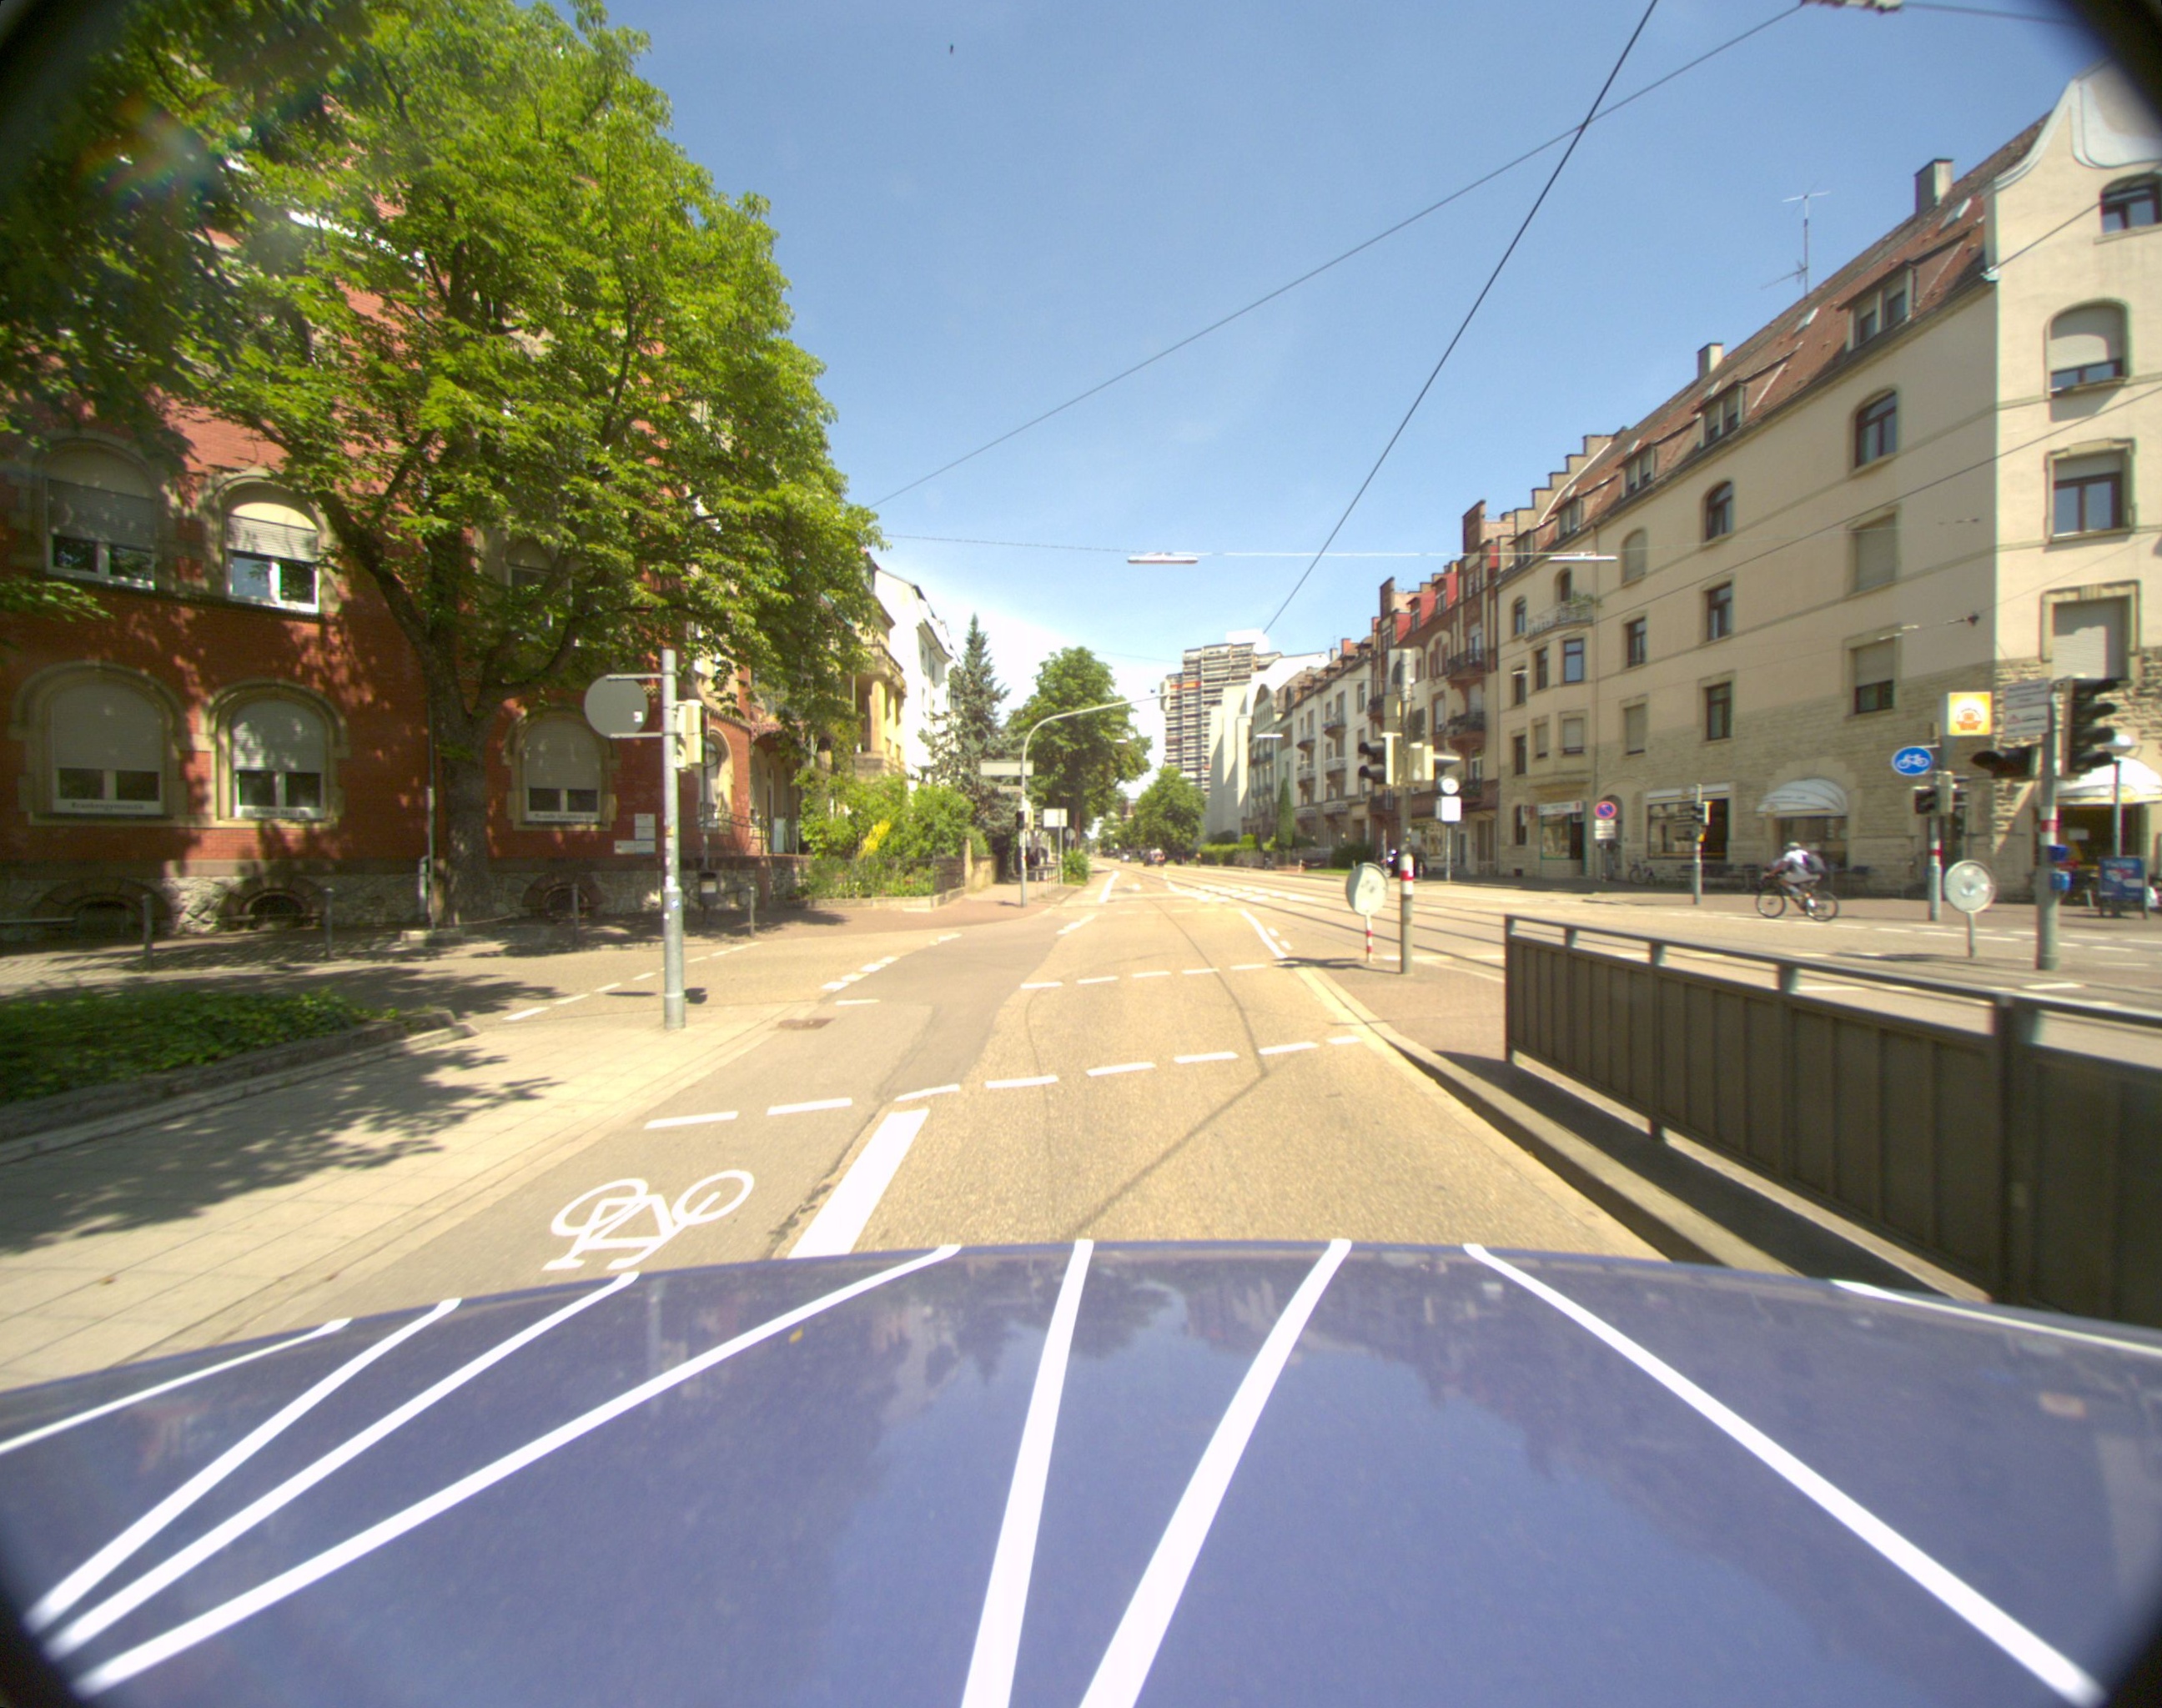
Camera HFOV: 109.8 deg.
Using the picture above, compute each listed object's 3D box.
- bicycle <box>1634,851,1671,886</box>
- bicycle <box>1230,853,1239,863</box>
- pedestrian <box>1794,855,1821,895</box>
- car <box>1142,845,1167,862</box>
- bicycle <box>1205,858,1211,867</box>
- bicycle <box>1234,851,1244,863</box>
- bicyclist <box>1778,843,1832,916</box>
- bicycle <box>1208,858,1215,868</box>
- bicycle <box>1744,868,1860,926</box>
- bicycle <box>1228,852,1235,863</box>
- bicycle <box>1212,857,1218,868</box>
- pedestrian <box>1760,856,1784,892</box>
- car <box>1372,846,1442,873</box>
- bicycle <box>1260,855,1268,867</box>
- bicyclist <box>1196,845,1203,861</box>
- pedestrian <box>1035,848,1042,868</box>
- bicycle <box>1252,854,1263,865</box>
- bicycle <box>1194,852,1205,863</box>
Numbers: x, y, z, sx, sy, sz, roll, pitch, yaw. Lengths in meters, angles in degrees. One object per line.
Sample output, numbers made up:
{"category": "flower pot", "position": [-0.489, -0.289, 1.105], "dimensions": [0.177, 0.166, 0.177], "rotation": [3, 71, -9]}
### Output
{"category": "bicycle", "position": [21.153, 0.529, 28.169], "dimensions": [0.454, 1.218, 2.082], "rotation": [0, 1, 18]}
{"category": "bicycle", "position": [15.199, 0.354, 75.281], "dimensions": [0.400, 0.965, 2.046], "rotation": [-1, 0, -1]}
{"category": "pedestrian", "position": [21.357, 0.614, 22.335], "dimensions": [0.406, 1.142, 0.405], "rotation": [-1, 1, -4]}
{"category": "car", "position": [8.478, -0.068, 87.933], "dimensions": [1.849, 1.926, 4.819], "rotation": [1, 1, -6]}
{"category": "bicycle", "position": [14.901, 0.979, 88.896], "dimensions": [0.340, 1.062, 1.727], "rotation": [-1, 1, -1]}
{"category": "bicycle", "position": [15.227, 0.310, 73.207], "dimensions": [0.493, 1.090, 2.046], "rotation": [-1, 0, -1]}
{"category": "bicyclist", "position": [15.748, 0.543, 16.545], "dimensions": [0.610, 1.565, 0.585], "rotation": [-1, 1, -1]}
{"category": "bicycle", "position": [14.936, 1.002, 86.978], "dimensions": [0.340, 1.062, 1.727], "rotation": [-1, 1, -1]}
{"category": "bicycle", "position": [15.721, 0.903, 16.647], "dimensions": [0.630, 1.150, 1.978], "rotation": [-1, 0, -1]}
{"category": "bicycle", "position": [15.408, 0.328, 77.617], "dimensions": [0.290, 1.040, 1.899], "rotation": [-1, 1, -1]}
{"category": "bicycle", "position": [15.009, 0.977, 85.026], "dimensions": [0.340, 1.157, 1.932], "rotation": [-1, 1, -1]}
{"category": "pedestrian", "position": [21.218, 0.605, 23.333], "dimensions": [0.355, 1.083, 0.405], "rotation": [-1, 1, -4]}
{"category": "car", "position": [18.890, 0.326, 44.095], "dimensions": [3.361, 1.463, 1.530], "rotation": [-1, 0, 3]}
{"category": "bicycle", "position": [15.301, 0.582, 63.505], "dimensions": [0.253, 0.911, 1.614], "rotation": [-1, 0, -1]}
{"category": "bicyclist", "position": [11.979, -0.095, 76.790], "dimensions": [0.611, 1.653, 0.579], "rotation": [0, 1, -2]}
{"category": "pedestrian", "position": [-3.611, 0.303, 64.987], "dimensions": [0.547, 1.683, 0.755], "rotation": [0, 1, -2]}
{"category": "bicycle", "position": [15.500, 0.457, 66.841], "dimensions": [0.463, 0.943, 1.954], "rotation": [-1, 0, -1]}
{"category": "bicycle", "position": [11.983, 0.339, 76.782], "dimensions": [0.646, 1.068, 2.186], "rotation": [0, 0, -1]}
